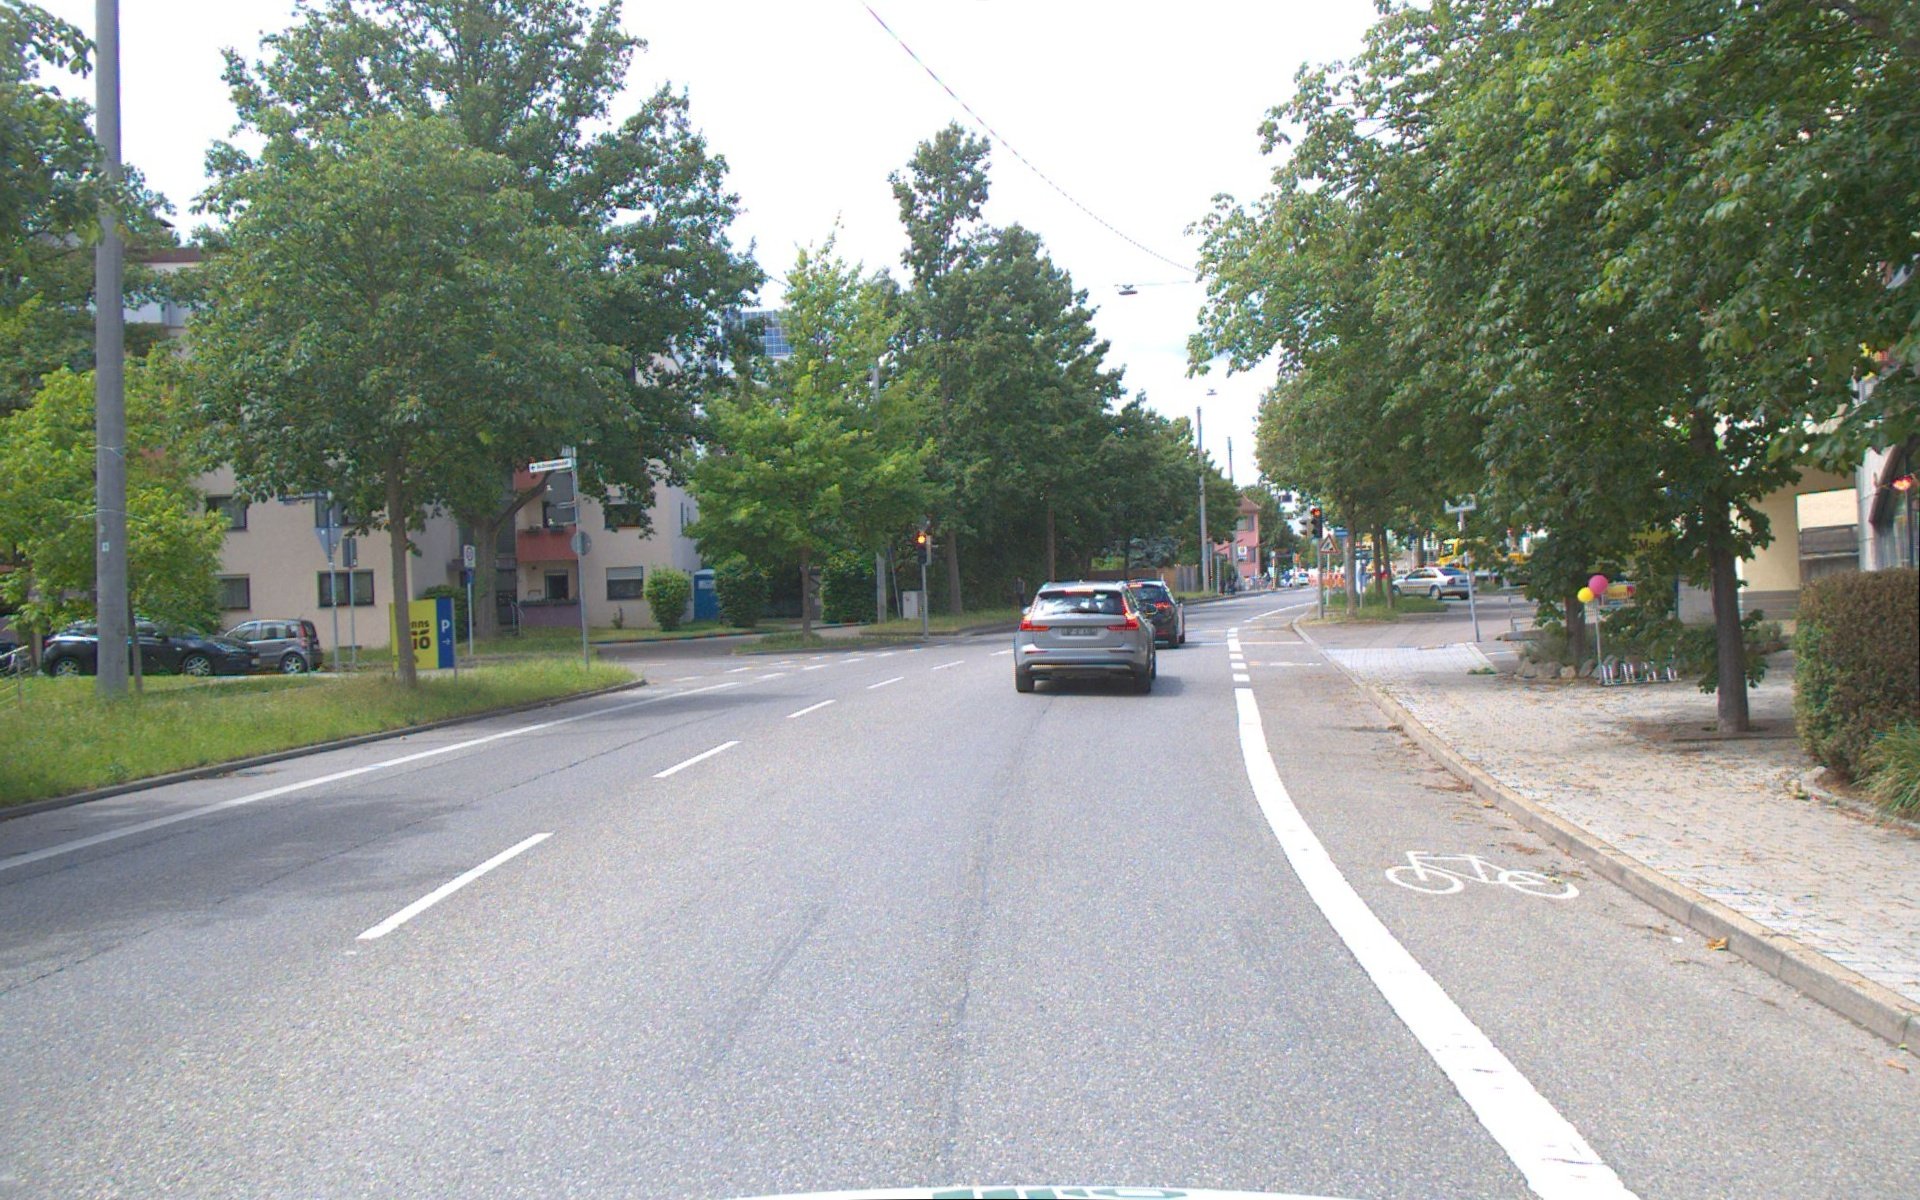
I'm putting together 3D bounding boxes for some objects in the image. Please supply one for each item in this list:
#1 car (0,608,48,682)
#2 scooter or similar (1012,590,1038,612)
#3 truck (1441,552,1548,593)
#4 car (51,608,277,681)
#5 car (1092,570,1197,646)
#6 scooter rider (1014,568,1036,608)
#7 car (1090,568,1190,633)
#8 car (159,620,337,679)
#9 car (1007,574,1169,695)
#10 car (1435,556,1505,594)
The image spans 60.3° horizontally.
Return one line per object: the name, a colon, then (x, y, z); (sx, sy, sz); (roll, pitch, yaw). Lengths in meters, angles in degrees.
car: (-22.186, 1.043, 35.495); (4.093, 1.550, 1.900); (-2, 0, -4)
scooter or similar: (2.936, 0.049, 74.472); (0.943, 0.978, 0.683); (-2, 0, -31)
truck: (28.150, -1.438, 87.043); (5.532, 2.049, 2.070); (-1, -1, -28)
car: (-17.118, 0.986, 35.727); (3.997, 1.424, 1.793); (-1, -4, -4)
car: (4.154, 0.135, 36.702); (1.766, 1.549, 4.333); (1, 1, 14)
scooter rider: (2.920, -0.537, 74.482); (0.697, 1.758, 0.673); (-1, -1, -29)
car: (4.944, 0.025, 44.898); (1.766, 1.644, 4.330); (1, 0, 19)
car: (-19.083, 1.350, 44.480); (3.997, 1.424, 1.793); (-1, -4, -4)
car: (1.917, 0.420, 23.549); (1.914, 1.550, 4.333); (0, 1, 9)
car: (28.447, -1.408, 92.200); (3.719, 2.049, 1.724); (-1, -1, -32)
